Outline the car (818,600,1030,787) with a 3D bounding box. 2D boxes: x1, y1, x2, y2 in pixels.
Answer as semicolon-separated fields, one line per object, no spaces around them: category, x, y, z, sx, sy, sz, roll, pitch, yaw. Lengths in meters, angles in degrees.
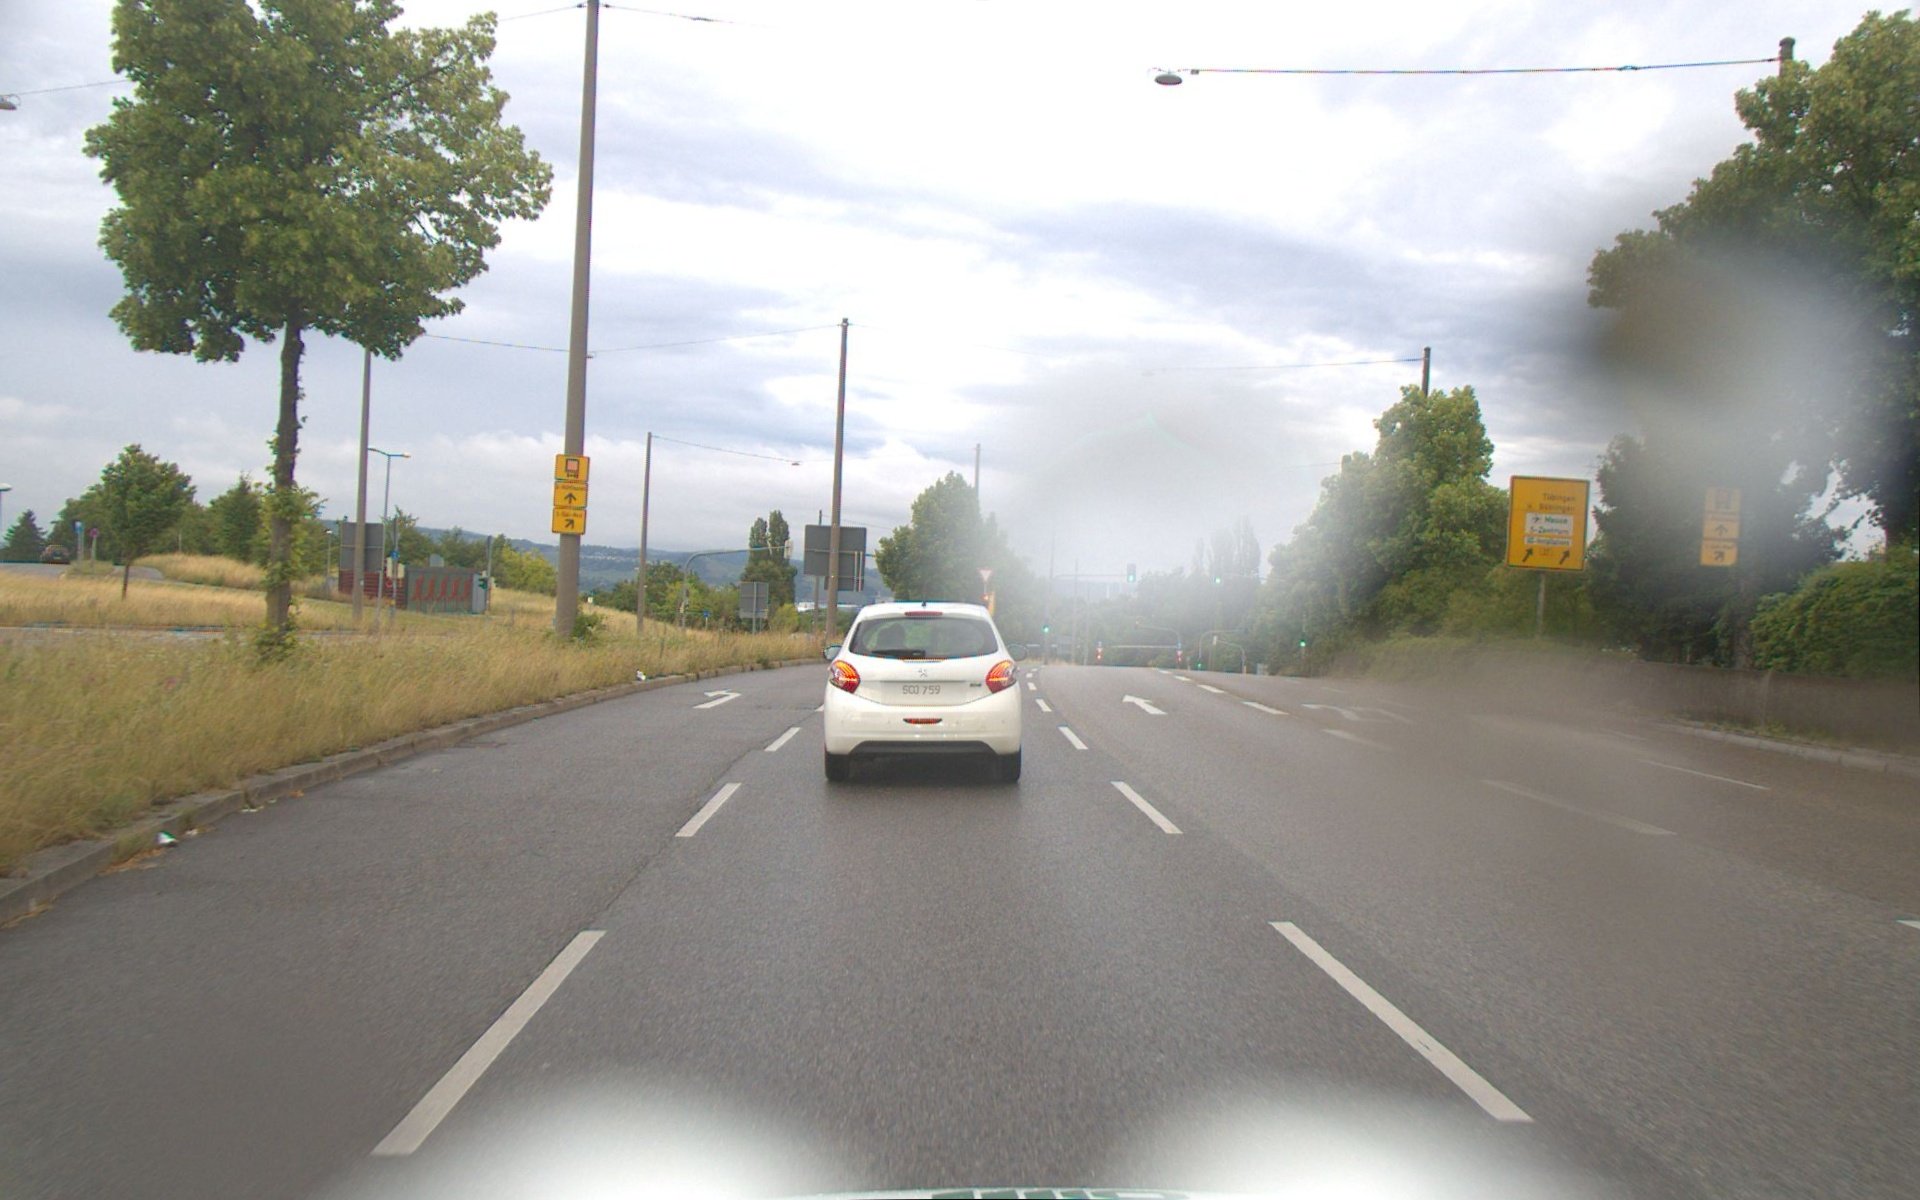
car;-0.237;0.742;14.996;1.673;1.465;3.691;1;0;1
